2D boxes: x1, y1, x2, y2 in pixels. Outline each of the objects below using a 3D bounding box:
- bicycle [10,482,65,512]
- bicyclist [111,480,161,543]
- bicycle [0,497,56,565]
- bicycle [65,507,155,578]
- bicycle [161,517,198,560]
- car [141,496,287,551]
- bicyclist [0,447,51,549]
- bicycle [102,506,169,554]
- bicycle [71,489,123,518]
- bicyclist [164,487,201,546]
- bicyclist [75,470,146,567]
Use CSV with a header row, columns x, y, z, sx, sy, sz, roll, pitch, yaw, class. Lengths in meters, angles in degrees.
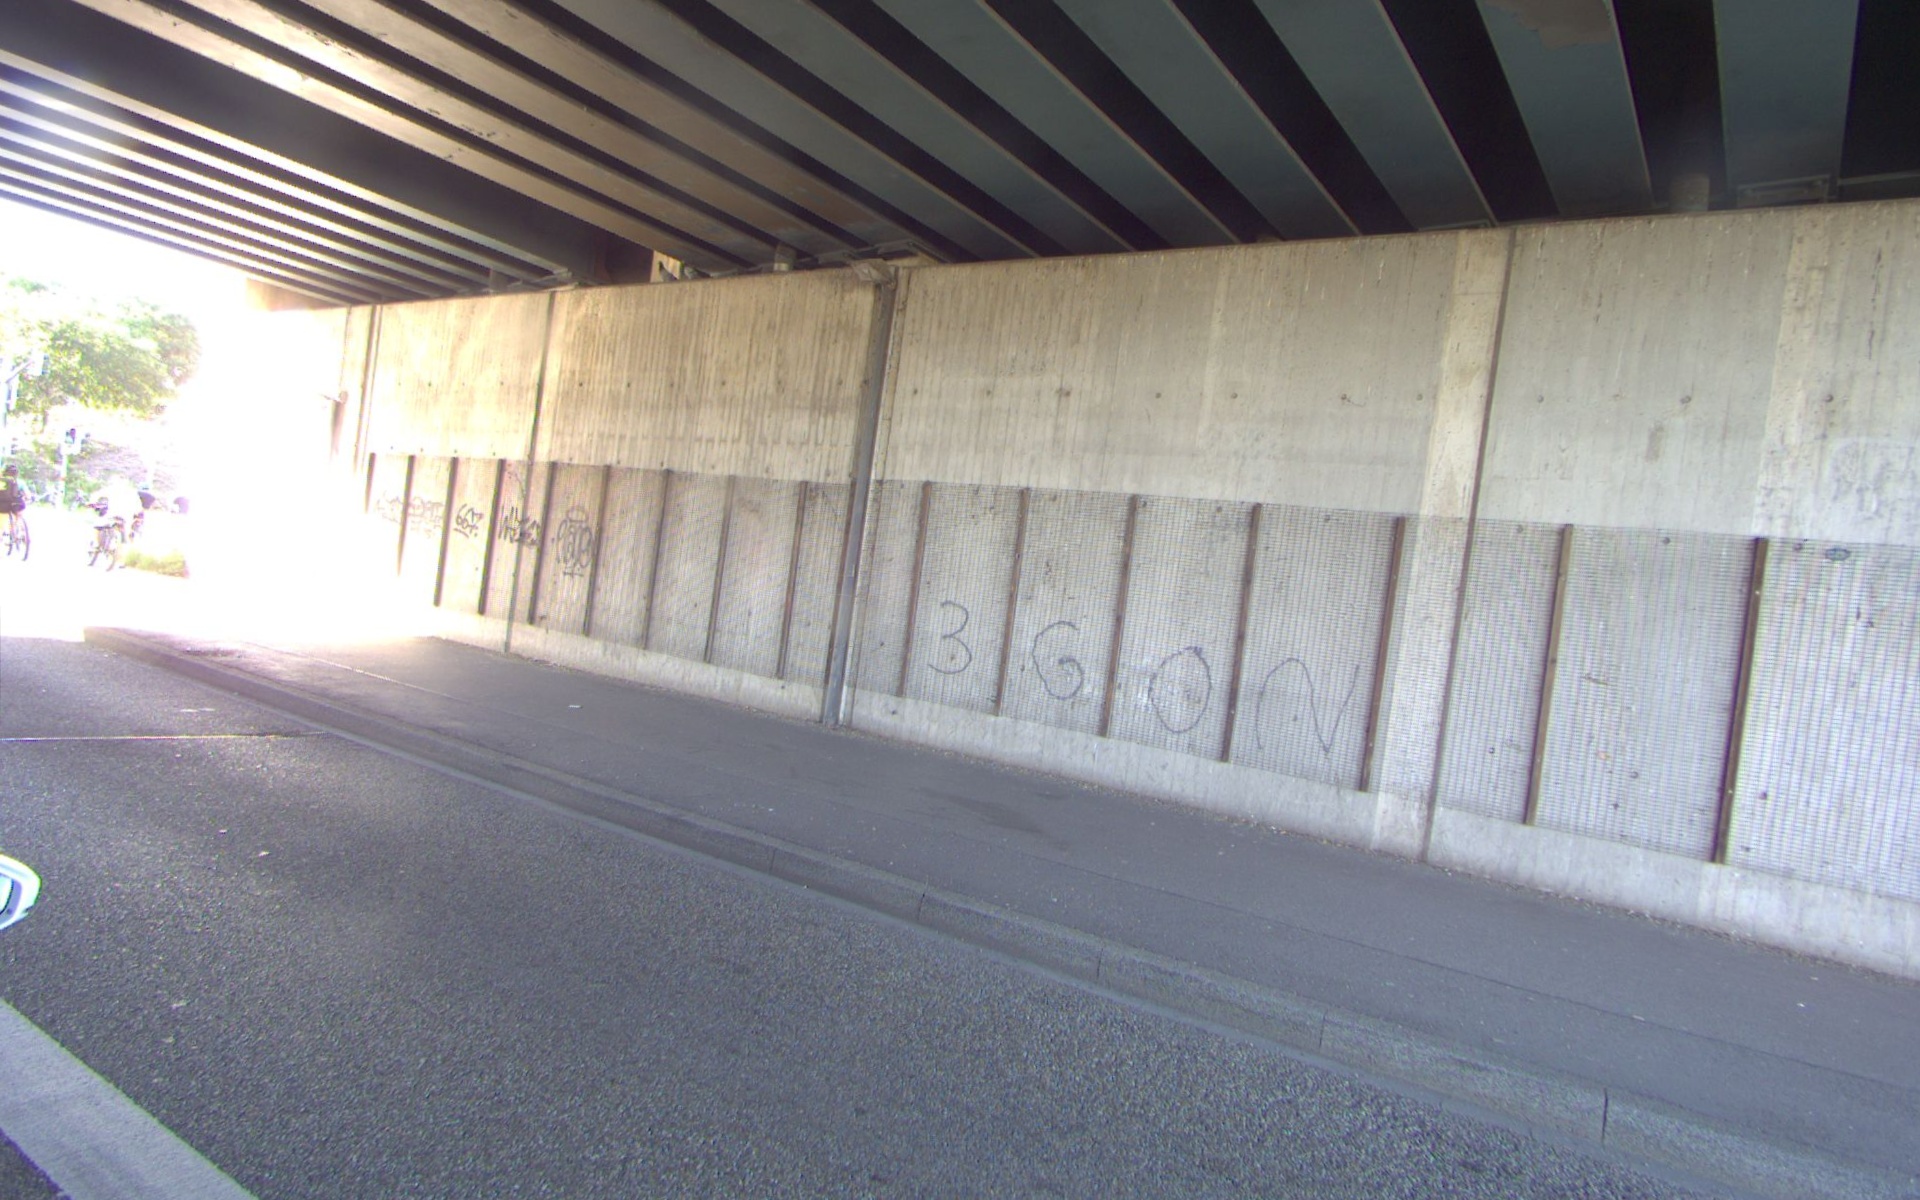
x,y,z,sx,sy,sz,roll,pitch,yaw,class
-42.890,-4.784,46.781,0.585,1.035,1.744,6,-2,40,bicycle
-21.256,-2.278,25.951,0.739,1.491,0.666,6,-1,34,bicyclist
-16.186,-1.210,17.154,1.721,1.035,0.593,6,-1,32,bicycle
-14.732,-1.007,17.428,1.721,1.035,0.593,6,-1,32,bicycle
-21.593,-1.704,27.860,0.664,1.035,1.732,8,0,-37,bicycle
-31.379,-3.189,42.430,1.801,1.531,4.548,6,-3,39,car
-16.213,-1.749,17.208,0.927,1.632,0.593,6,-1,32,bicyclist
-21.251,-1.806,25.915,2.022,1.035,0.672,6,-2,33,bicycle
-41.078,-4.580,47.898,0.586,1.035,1.743,6,-2,43,bicycle
-21.557,-2.312,27.904,0.646,1.499,0.612,8,0,-37,bicyclist
-14.705,-1.407,17.413,0.756,1.566,0.593,6,-1,32,bicyclist
